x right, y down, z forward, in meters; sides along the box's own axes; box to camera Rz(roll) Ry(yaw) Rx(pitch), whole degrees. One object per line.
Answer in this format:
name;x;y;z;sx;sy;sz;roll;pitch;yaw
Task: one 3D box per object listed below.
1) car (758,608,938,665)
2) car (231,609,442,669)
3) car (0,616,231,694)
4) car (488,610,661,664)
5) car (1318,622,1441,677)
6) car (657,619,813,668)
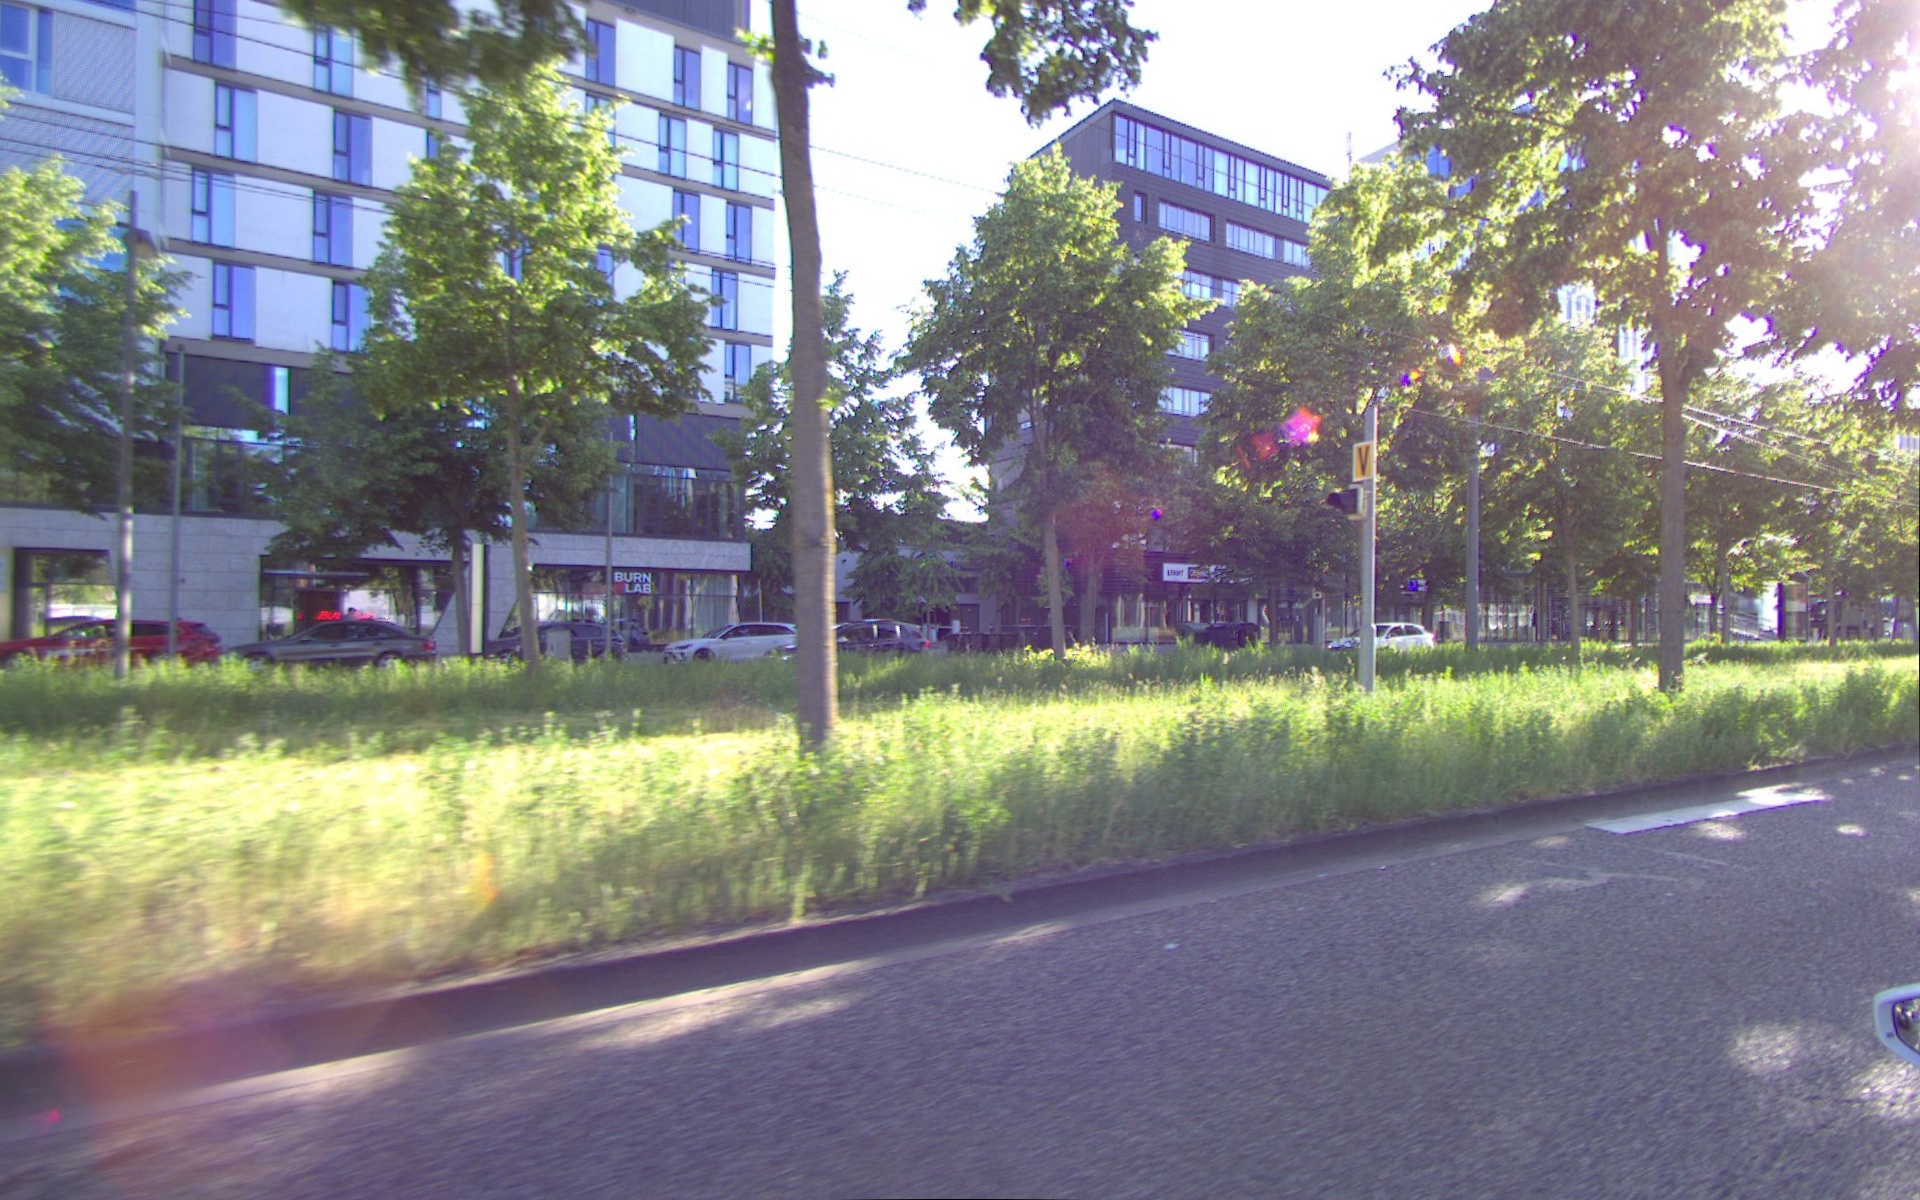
car;-2.672;0.847;24.213;3.954;1.280;1.788;1;-1;-31
car;-16.018;0.986;26.052;4.493;1.439;1.706;1;-1;-31
car;-21.961;1.352;25.841;5.074;1.801;1.787;0;1;-34
car;-11.091;1.038;28.976;4.490;1.439;1.707;1;-1;-30
car;14.584;1.663;34.864;4.272;1.711;1.788;0;1;-32
car;-7.008;1.323;31.422;4.493;1.439;1.707;1;-1;-31
